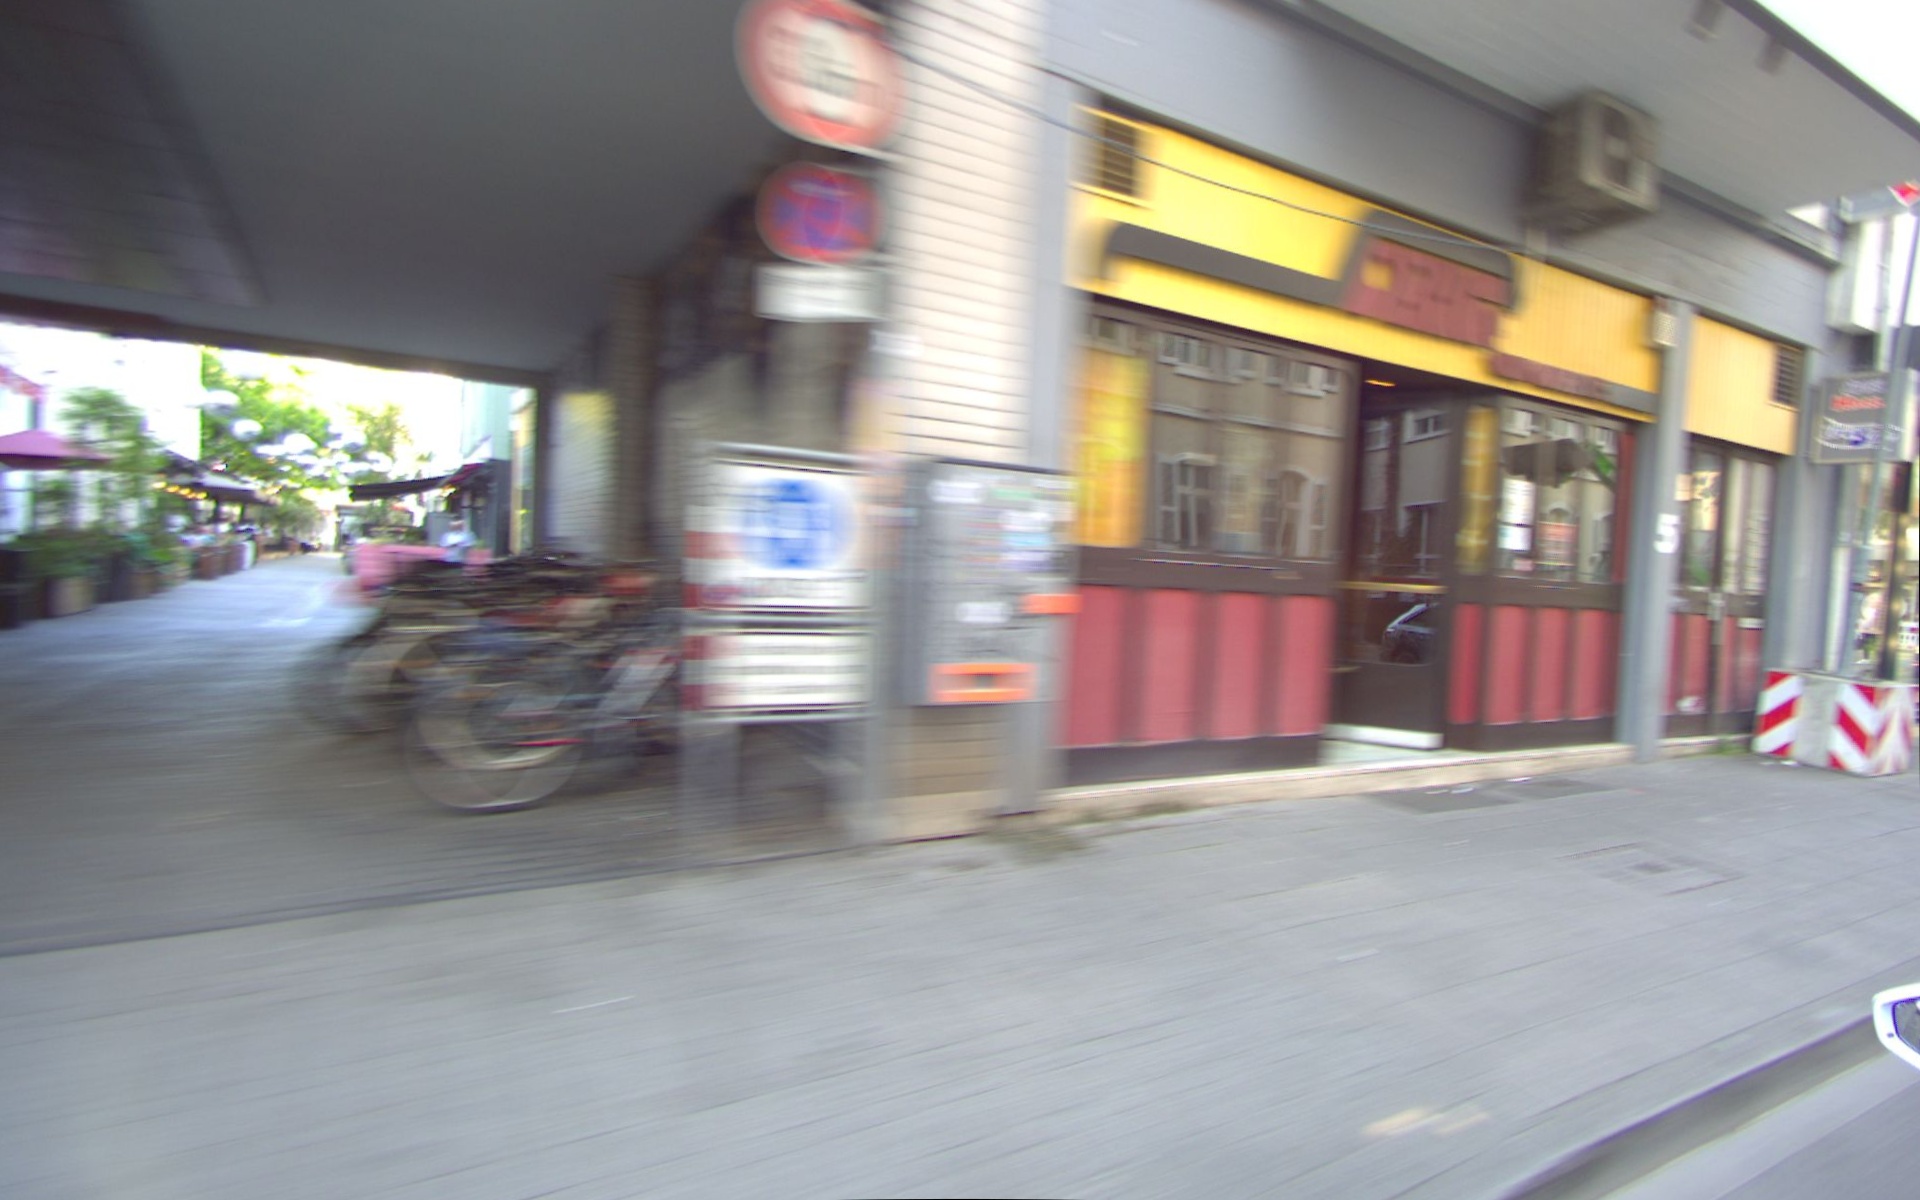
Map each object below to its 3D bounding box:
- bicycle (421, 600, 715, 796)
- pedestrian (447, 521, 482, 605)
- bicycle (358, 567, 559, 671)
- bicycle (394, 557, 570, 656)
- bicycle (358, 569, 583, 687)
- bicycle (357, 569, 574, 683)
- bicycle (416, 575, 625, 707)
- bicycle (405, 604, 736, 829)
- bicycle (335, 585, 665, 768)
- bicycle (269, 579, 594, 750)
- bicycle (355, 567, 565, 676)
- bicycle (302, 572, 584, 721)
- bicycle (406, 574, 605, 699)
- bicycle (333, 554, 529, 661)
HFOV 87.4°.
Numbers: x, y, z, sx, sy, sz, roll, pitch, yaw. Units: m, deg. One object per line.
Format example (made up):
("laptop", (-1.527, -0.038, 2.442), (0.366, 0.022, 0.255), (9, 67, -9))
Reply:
("bicycle", (-2.157, 0.497, 5.616), (1.486, 0.974, 0.375), (0, 3, -34))
("pedestrian", (-11.153, -0.823, 22.598), (0.635, 1.832, 0.744), (2, 2, -27))
("bicycle", (-5.011, 0.178, 10.096), (1.777, 0.974, 0.375), (0, 3, -34))
("bicycle", (-5.474, 0.061, 11.572), (1.782, 1.052, 0.447), (0, 3, -41))
("bicycle", (-4.358, 0.233, 9.010), (1.777, 0.974, 0.375), (0, 3, -34))
("bicycle", (-4.552, 0.223, 9.317), (1.777, 0.974, 0.375), (0, 3, -34))
("bicycle", (-3.497, 0.307, 8.051), (1.486, 0.974, 0.375), (0, 3, -34))
("bicycle", (-1.895, 0.517, 4.986), (1.486, 0.974, 0.375), (0, 3, -34))
("bicycle", (-2.724, 0.416, 6.062), (1.777, 0.974, 0.375), (0, 3, -34))
("bicycle", (-3.286, 0.373, 6.368), (1.775, 0.974, 0.375), (0, 3, -31))
("bicycle", (-4.769, 0.194, 9.651), (1.777, 0.974, 0.375), (0, 3, -34))
("bicycle", (-3.691, 0.308, 7.262), (1.776, 0.974, 0.375), (0, 3, -33))
("bicycle", (-3.808, 0.288, 8.459), (1.486, 0.974, 0.375), (0, 3, -34))
("bicycle", (-5.569, 0.065, 10.639), (1.782, 1.052, 0.447), (0, 3, -41))
